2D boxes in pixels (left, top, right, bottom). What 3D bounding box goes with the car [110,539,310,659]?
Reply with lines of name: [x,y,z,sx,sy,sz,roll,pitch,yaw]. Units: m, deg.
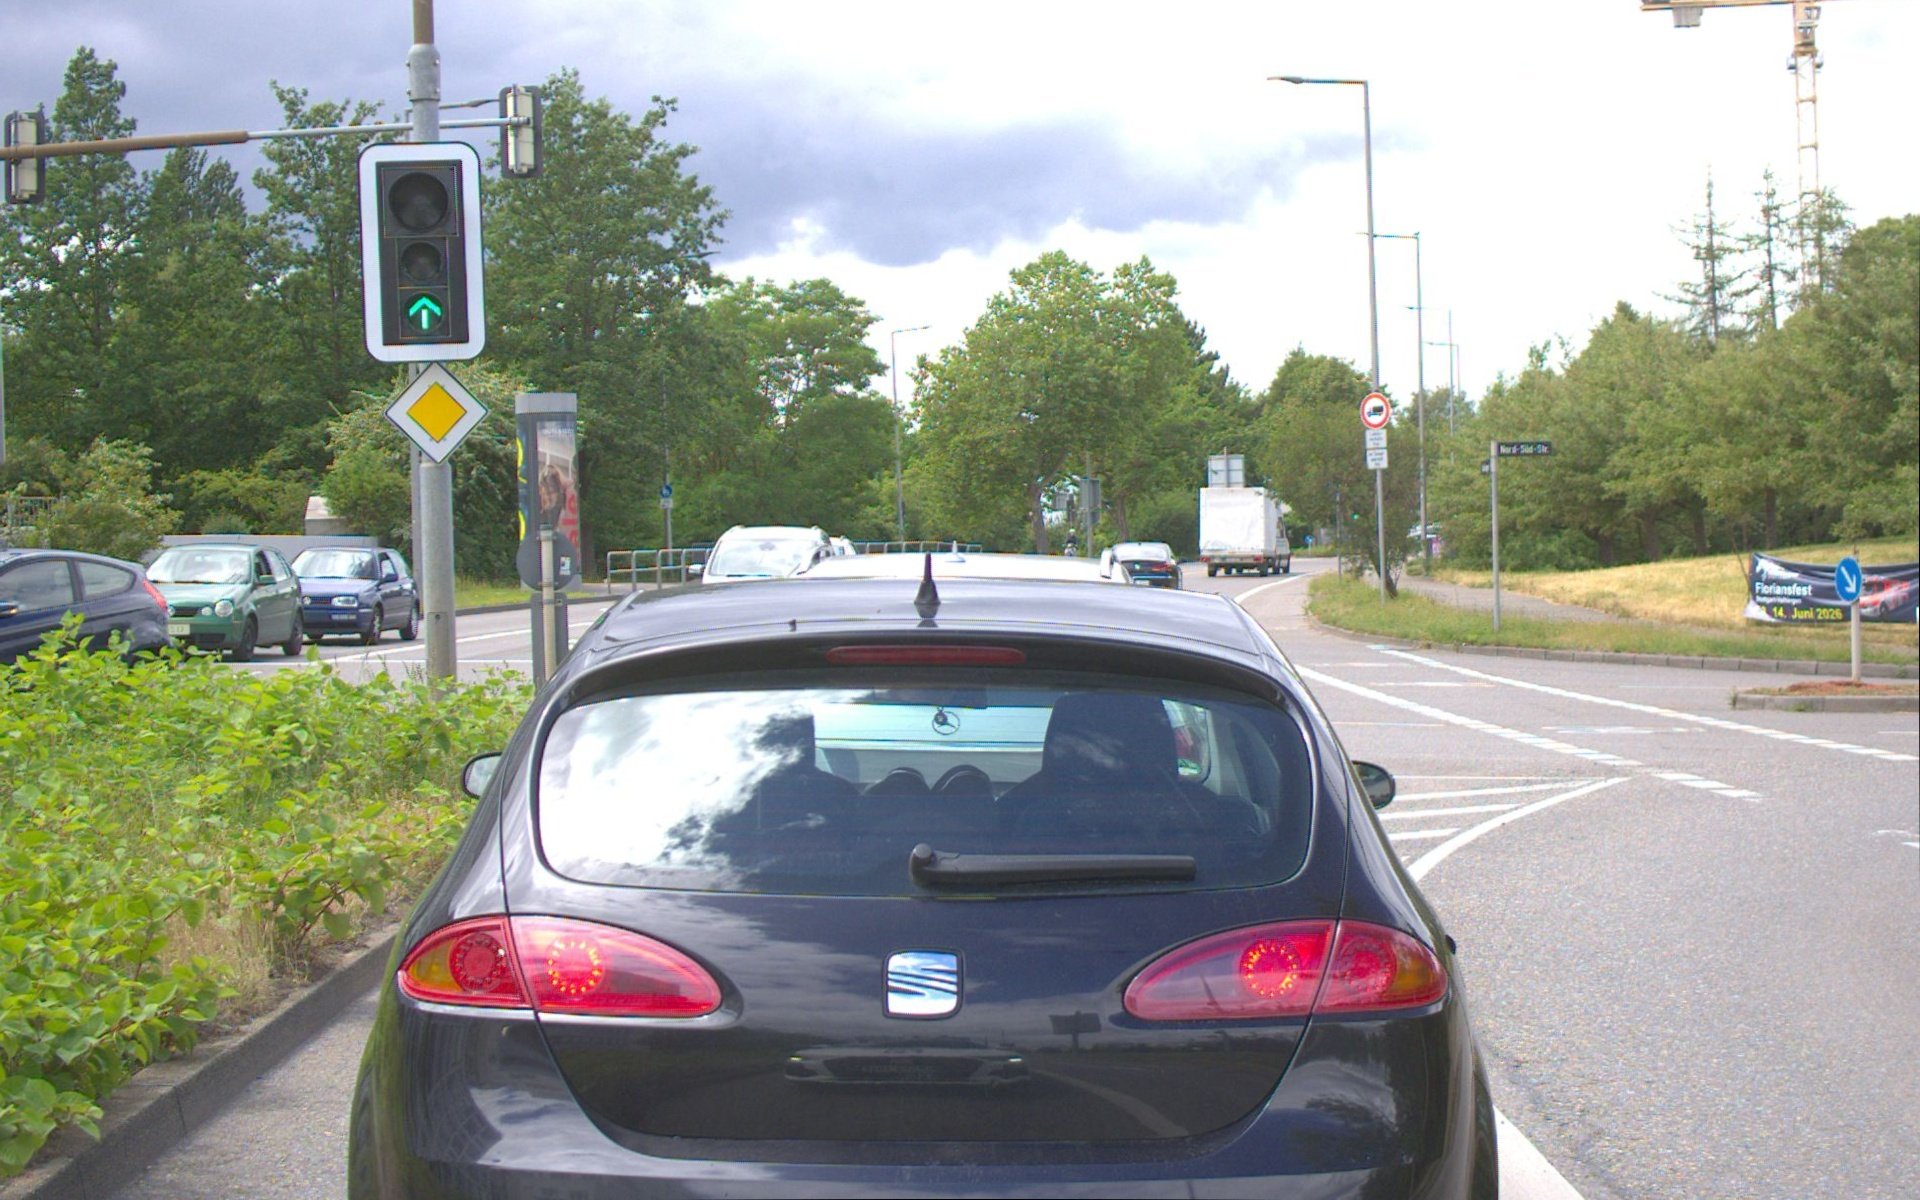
car: [-9.415,-0.049,43.386,1.605,1.427,3.752,0,1,2]

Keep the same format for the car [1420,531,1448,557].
car: [29.953,-3.503,217.259,1.668,1.590,3.998,1,1,9]

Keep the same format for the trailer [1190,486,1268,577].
trailer: [9.388,-2.370,119.710,2.492,3.063,5.585,1,1,6]

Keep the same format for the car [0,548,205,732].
car: [-8.087,0.301,27.808,1.757,1.441,3.886,1,1,28]

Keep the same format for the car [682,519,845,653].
car: [-2.588,-0.240,46.227,1.820,1.681,4.645,1,1,1]

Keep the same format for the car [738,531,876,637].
car: [-2.281,-0.272,52.196,1.660,1.513,4.084,1,1,3]

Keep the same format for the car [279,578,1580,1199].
car: [-0.058,0.698,6.274,1.711,1.412,3.459,1,1,0]

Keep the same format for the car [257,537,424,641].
car: [-9.021,-0.189,50.289,1.554,1.414,3.895,0,1,3]

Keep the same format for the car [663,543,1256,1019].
car: [0.019,0.549,12.625,1.834,1.462,3.751,1,1,1]

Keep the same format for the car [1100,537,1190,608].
car: [4.240,-0.643,78.634,1.994,1.560,4.470,0,1,3]
